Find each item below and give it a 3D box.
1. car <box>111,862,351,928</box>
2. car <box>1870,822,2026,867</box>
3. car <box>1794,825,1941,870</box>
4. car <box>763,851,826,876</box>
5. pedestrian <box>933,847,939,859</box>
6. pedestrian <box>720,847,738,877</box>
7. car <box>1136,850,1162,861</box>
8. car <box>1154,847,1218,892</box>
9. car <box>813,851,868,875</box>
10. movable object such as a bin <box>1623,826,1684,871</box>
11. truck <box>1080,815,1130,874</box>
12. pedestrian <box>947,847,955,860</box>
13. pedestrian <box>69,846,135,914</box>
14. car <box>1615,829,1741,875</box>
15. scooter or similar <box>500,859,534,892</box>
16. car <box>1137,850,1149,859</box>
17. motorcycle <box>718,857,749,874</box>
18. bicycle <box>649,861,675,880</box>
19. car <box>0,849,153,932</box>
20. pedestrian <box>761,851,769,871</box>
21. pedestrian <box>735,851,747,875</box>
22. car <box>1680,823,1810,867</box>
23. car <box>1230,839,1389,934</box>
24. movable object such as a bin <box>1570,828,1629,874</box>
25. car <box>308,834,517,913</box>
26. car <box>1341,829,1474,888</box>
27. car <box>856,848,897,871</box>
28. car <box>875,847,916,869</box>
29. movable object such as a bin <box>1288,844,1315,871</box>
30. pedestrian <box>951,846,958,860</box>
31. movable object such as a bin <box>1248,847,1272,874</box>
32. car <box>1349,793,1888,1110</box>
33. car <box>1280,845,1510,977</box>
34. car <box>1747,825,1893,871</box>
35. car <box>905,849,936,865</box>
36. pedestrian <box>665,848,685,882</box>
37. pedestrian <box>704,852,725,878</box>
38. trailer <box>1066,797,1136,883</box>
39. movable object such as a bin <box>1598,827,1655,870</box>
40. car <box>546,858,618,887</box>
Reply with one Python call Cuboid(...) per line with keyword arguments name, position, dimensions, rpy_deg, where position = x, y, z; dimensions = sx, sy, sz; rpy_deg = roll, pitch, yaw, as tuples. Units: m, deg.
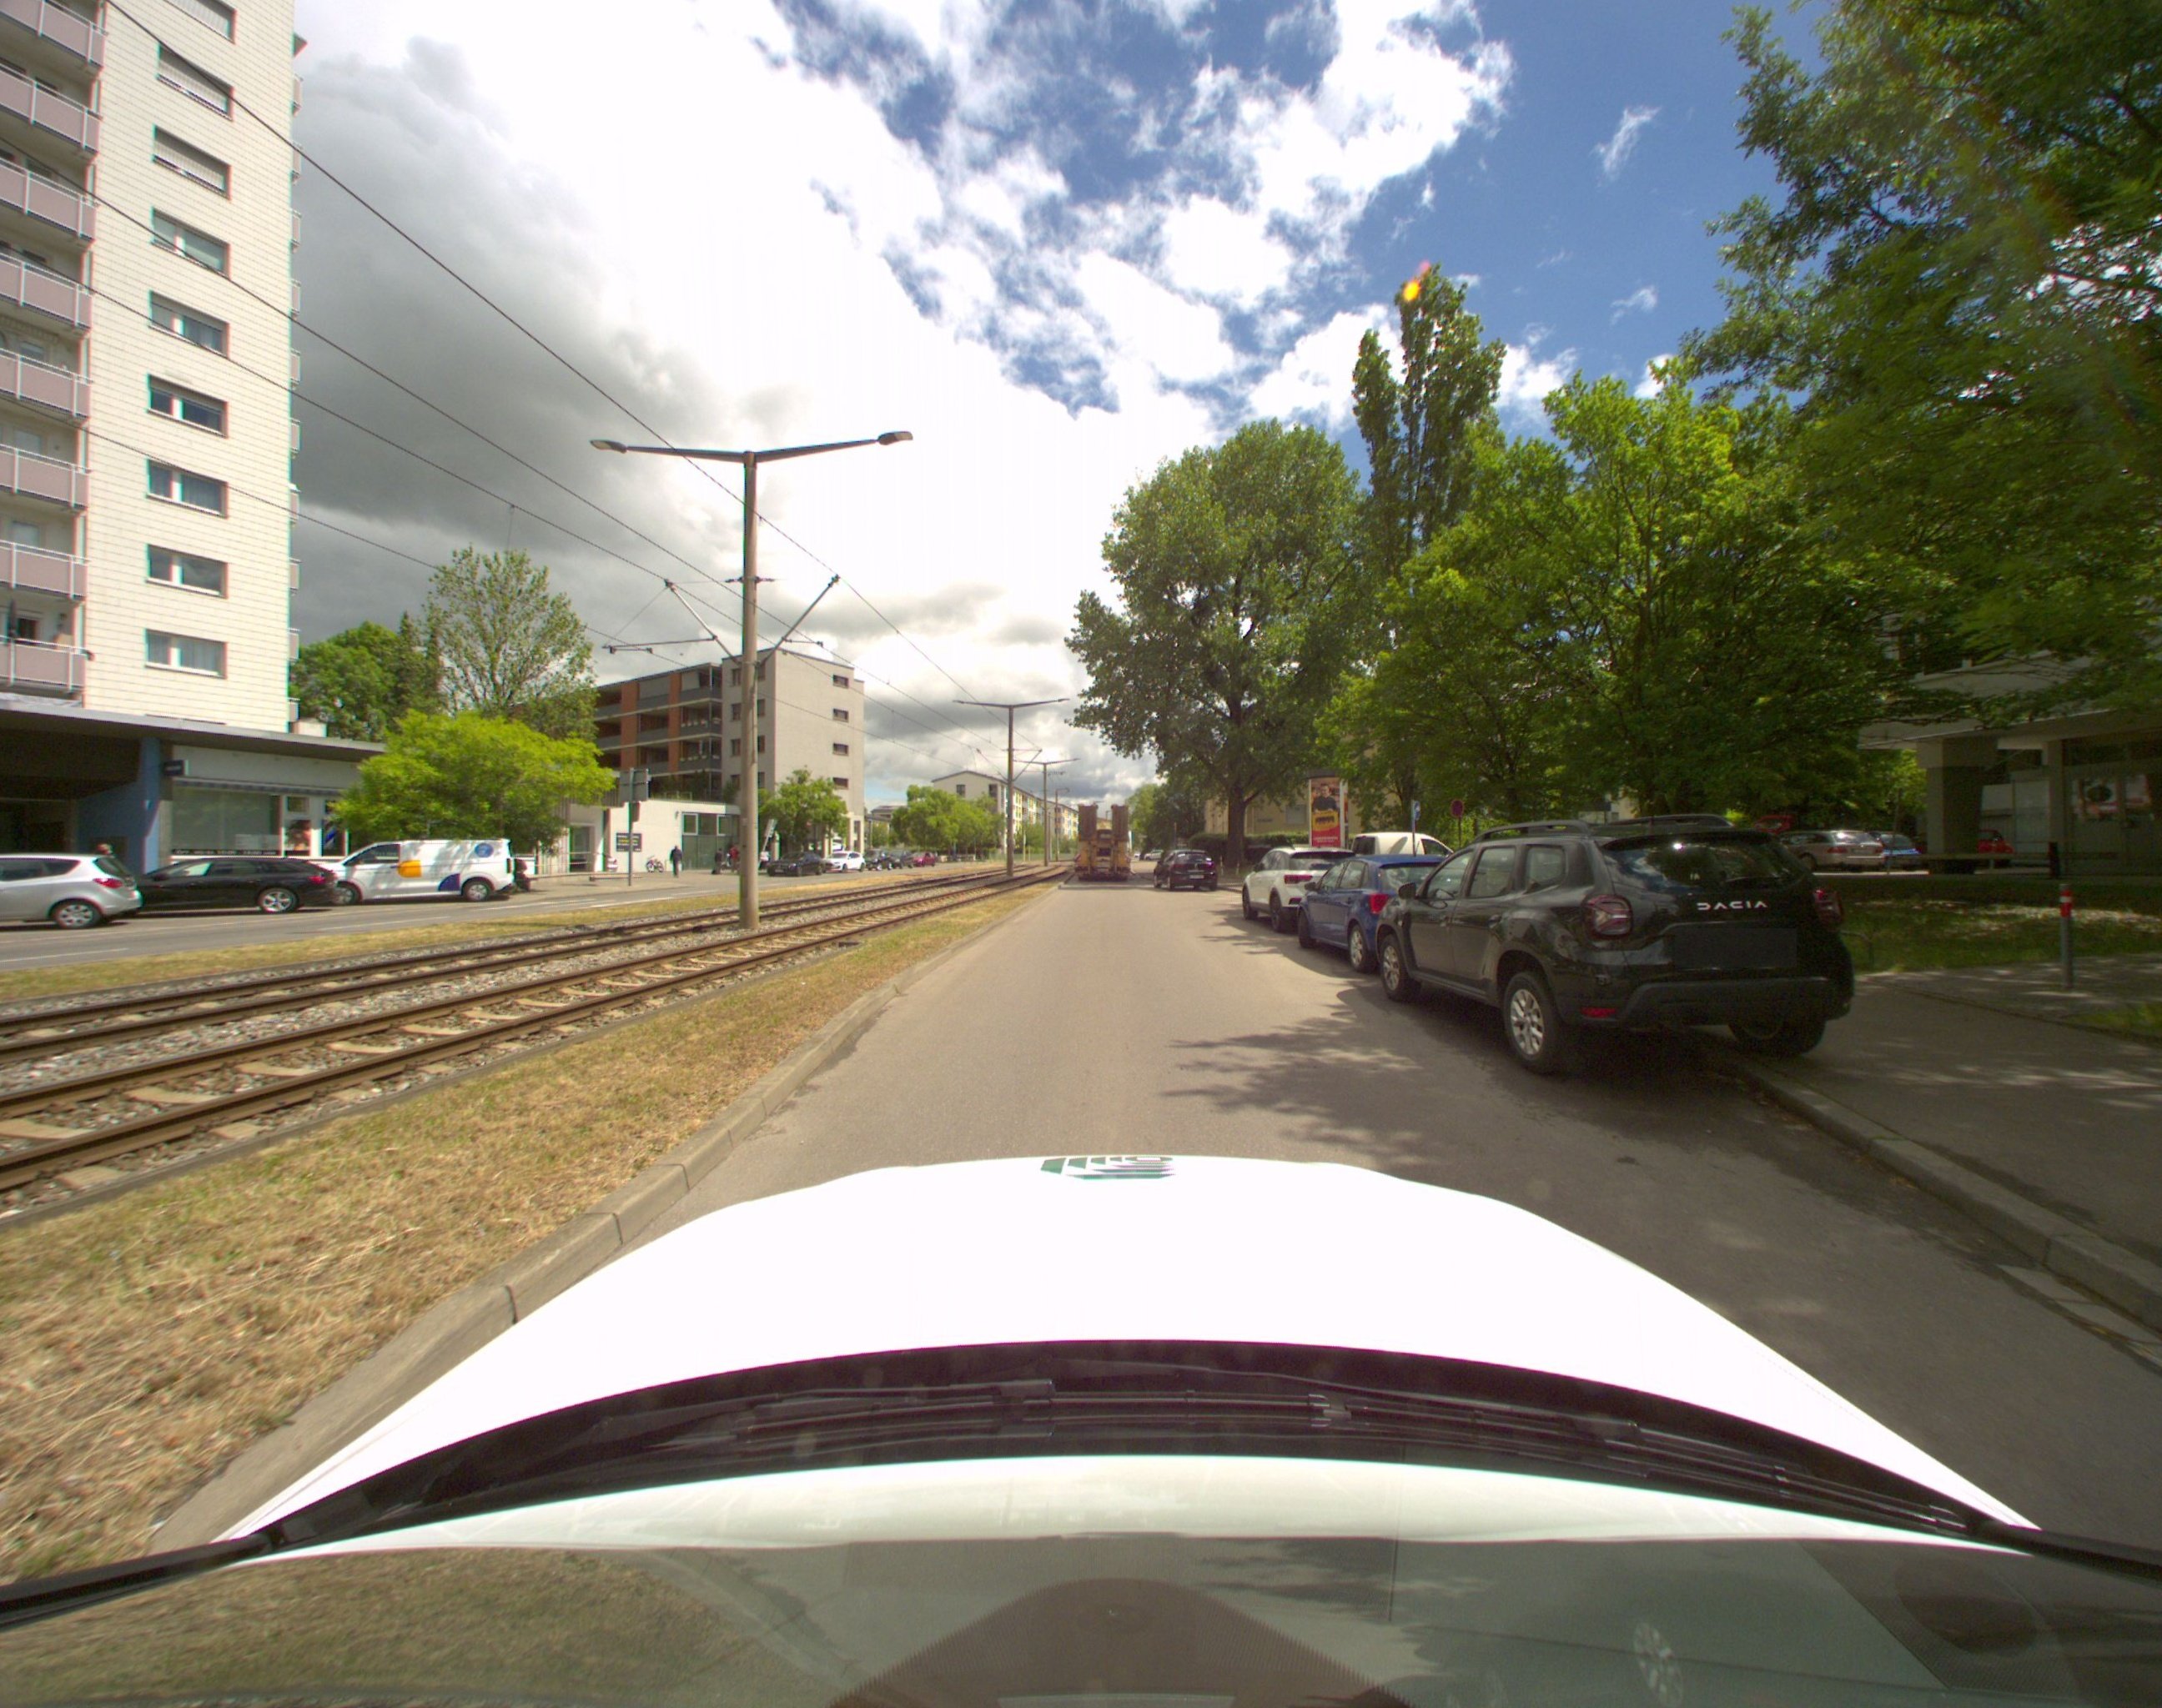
Cuboid(name="car", position=(-21.809, 0.987, 21.175), dimensions=(4.019, 1.383, 1.885), rpy_deg=(-2, 1, -38))
Cuboid(name="car", position=(32.491, -0.364, 30.704), dimensions=(1.736, 1.528, 4.004), rpy_deg=(-1, 1, 3))
Cuboid(name="car", position=(28.968, -0.263, 30.183), dimensions=(1.736, 1.528, 4.004), rpy_deg=(-1, 1, 3))
Cuboid(name="car", position=(-16.974, 0.523, 48.438), dimensions=(1.725, 1.428, 4.389), rpy_deg=(1, 0, 7))
Cuboid(name="pedestrian", position=(-18.971, -0.071, 106.614), dimensions=(0.539, 1.547, 0.532), rpy_deg=(-1, 1, 25))
Cuboid(name="pedestrian", position=(-21.516, 0.479, 49.807), dimensions=(0.608, 1.792, 0.844), rpy_deg=(-2, 0, 3))
Cuboid(name="car", position=(10.420, 0.212, 124.428), dimensions=(3.571, 1.584, 2.008), rpy_deg=(-2, -1, 16))
Cuboid(name="car", position=(3.706, 0.509, 29.328), dimensions=(1.809, 1.448, 3.826), rpy_deg=(-2, 1, 0))
Cuboid(name="car", position=(-16.430, 0.589, 55.860), dimensions=(1.743, 1.475, 4.412), rpy_deg=(-2, 1, 9))
Cuboid(name="movable object such as a bin", position=(19.127, -0.196, 27.236), dimensions=(1.111, 1.429, 1.286), rpy_deg=(-2, 1, 1))
Cuboid(name="truck", position=(1.572, -0.612, 51.576), dimensions=(2.823, 3.330, 7.989), rpy_deg=(-2, 1, 2))
Cuboid(name="pedestrian", position=(-15.735, -0.094, 98.576), dimensions=(0.618, 1.573, 0.701), rpy_deg=(-2, 0, 15))
Cuboid(name="pedestrian", position=(-26.781, 0.706, 22.289), dimensions=(0.762, 1.821, 0.895), rpy_deg=(-2, 0, 16))
Cuboid(name="car", position=(21.586, -0.099, 29.662), dimensions=(1.930, 1.490, 4.007), rpy_deg=(-1, 1, 6))
Cuboid(name="scooter or similar", position=(-21.523, 0.815, 31.082), dimensions=(0.575, 1.124, 0.772), rpy_deg=(-8, -1, 15))
Cuboid(name="car", position=(10.935, 0.110, 143.177), dimensions=(1.985, 1.387, 4.005), rpy_deg=(-2, 1, 4))
Cuboid(name="motorcycle", position=(-25.324, 0.809, 59.431), dimensions=(1.885, 1.178, 0.742), rpy_deg=(-2, 1, 1))
Cuboid(name="bicycle", position=(-27.867, 1.097, 54.159), dimensions=(1.948, 1.212, 0.673), rpy_deg=(-1, 1, 35))
Cuboid(name="car", position=(-22.667, 0.781, 17.052), dimensions=(4.022, 1.632, 1.883), rpy_deg=(-2, 1, -42))
Cuboid(name="pedestrian", position=(-22.963, 0.489, 59.226), dimensions=(0.499, 1.460, 0.556), rpy_deg=(-2, 1, -24))
Cuboid(name="pedestrian", position=(-22.505, 0.573, 53.853), dimensions=(0.666, 1.573, 0.683), rpy_deg=(-2, 1, -24))
Cuboid(name="car", position=(24.053, -0.328, 29.700), dimensions=(1.734, 1.443, 4.007), rpy_deg=(-1, 1, 6))
Cuboid(name="car", position=(4.323, 0.527, 16.169), dimensions=(1.778, 1.565, 4.568), rpy_deg=(-2, 1, -1))
Cuboid(name="movable object such as a bin", position=(16.946, -0.109, 26.663), dimensions=(1.111, 1.429, 1.286), rpy_deg=(-2, 1, 1))
Cuboid(name="car", position=(-20.387, 0.513, 25.119), dimensions=(4.785, 2.156, 1.885), rpy_deg=(-2, 1, -38))
Cuboid(name="car", position=(11.070, 0.124, 27.665), dimensions=(4.000, 1.822, 1.799), rpy_deg=(-2, 1, -20))
Cuboid(name="car", position=(-15.474, 0.420, 61.871), dimensions=(1.986, 1.662, 4.102), rpy_deg=(0, 1, 2))
Cuboid(name="car", position=(-15.354, 0.323, 67.621), dimensions=(1.983, 1.648, 4.108), rpy_deg=(-2, 1, 7))
Cuboid(name="movable object such as a bin", position=(12.129, 0.179, 44.851), dimensions=(1.164, 1.439, 1.058), rpy_deg=(-2, 1, 1))
Cuboid(name="pedestrian", position=(-15.436, -0.124, 99.587), dimensions=(0.618, 1.573, 0.560), rpy_deg=(-2, 0, 15))
Cuboid(name="movable object such as a bin", position=(9.805, 0.328, 44.617), dimensions=(1.094, 1.439, 0.762), rpy_deg=(-2, 0, 1))
Cuboid(name="car", position=(3.813, 0.524, 6.926), dimensions=(1.638, 1.762, 4.571), rpy_deg=(-2, 1, 1))
Cuboid(name="car", position=(4.119, 0.635, 11.422), dimensions=(1.638, 1.458, 4.076), rpy_deg=(-2, 1, 0))
Cuboid(name="car", position=(26.171, -0.229, 29.034), dimensions=(1.736, 1.470, 4.004), rpy_deg=(-1, 1, 3))
Cuboid(name="car", position=(-14.670, 0.267, 74.677), dimensions=(1.603, 1.426, 3.433), rpy_deg=(-2, 1, 10))
Cuboid(name="pedestrian", position=(-21.976, 0.577, 44.073), dimensions=(0.846, 1.792, 0.865), rpy_deg=(-2, 1, -32))
Cuboid(name="pedestrian", position=(-22.260, 0.639, 49.503), dimensions=(0.596, 1.534, 0.977), rpy_deg=(-2, 1, 16))
Cuboid(name="trailer", position=(1.116, -0.702, 42.322), dimensions=(3.039, 3.772, 11.618), rpy_deg=(-2, 1, 2))
Cuboid(name="movable object such as a bin", position=(19.149, -0.201, 28.620), dimensions=(1.111, 1.429, 1.286), rpy_deg=(-2, 1, 1))
Cuboid(name="car", position=(-26.993, 1.001, 43.993), dimensions=(4.300, 1.442, 2.013), rpy_deg=(-1, 1, 40))
